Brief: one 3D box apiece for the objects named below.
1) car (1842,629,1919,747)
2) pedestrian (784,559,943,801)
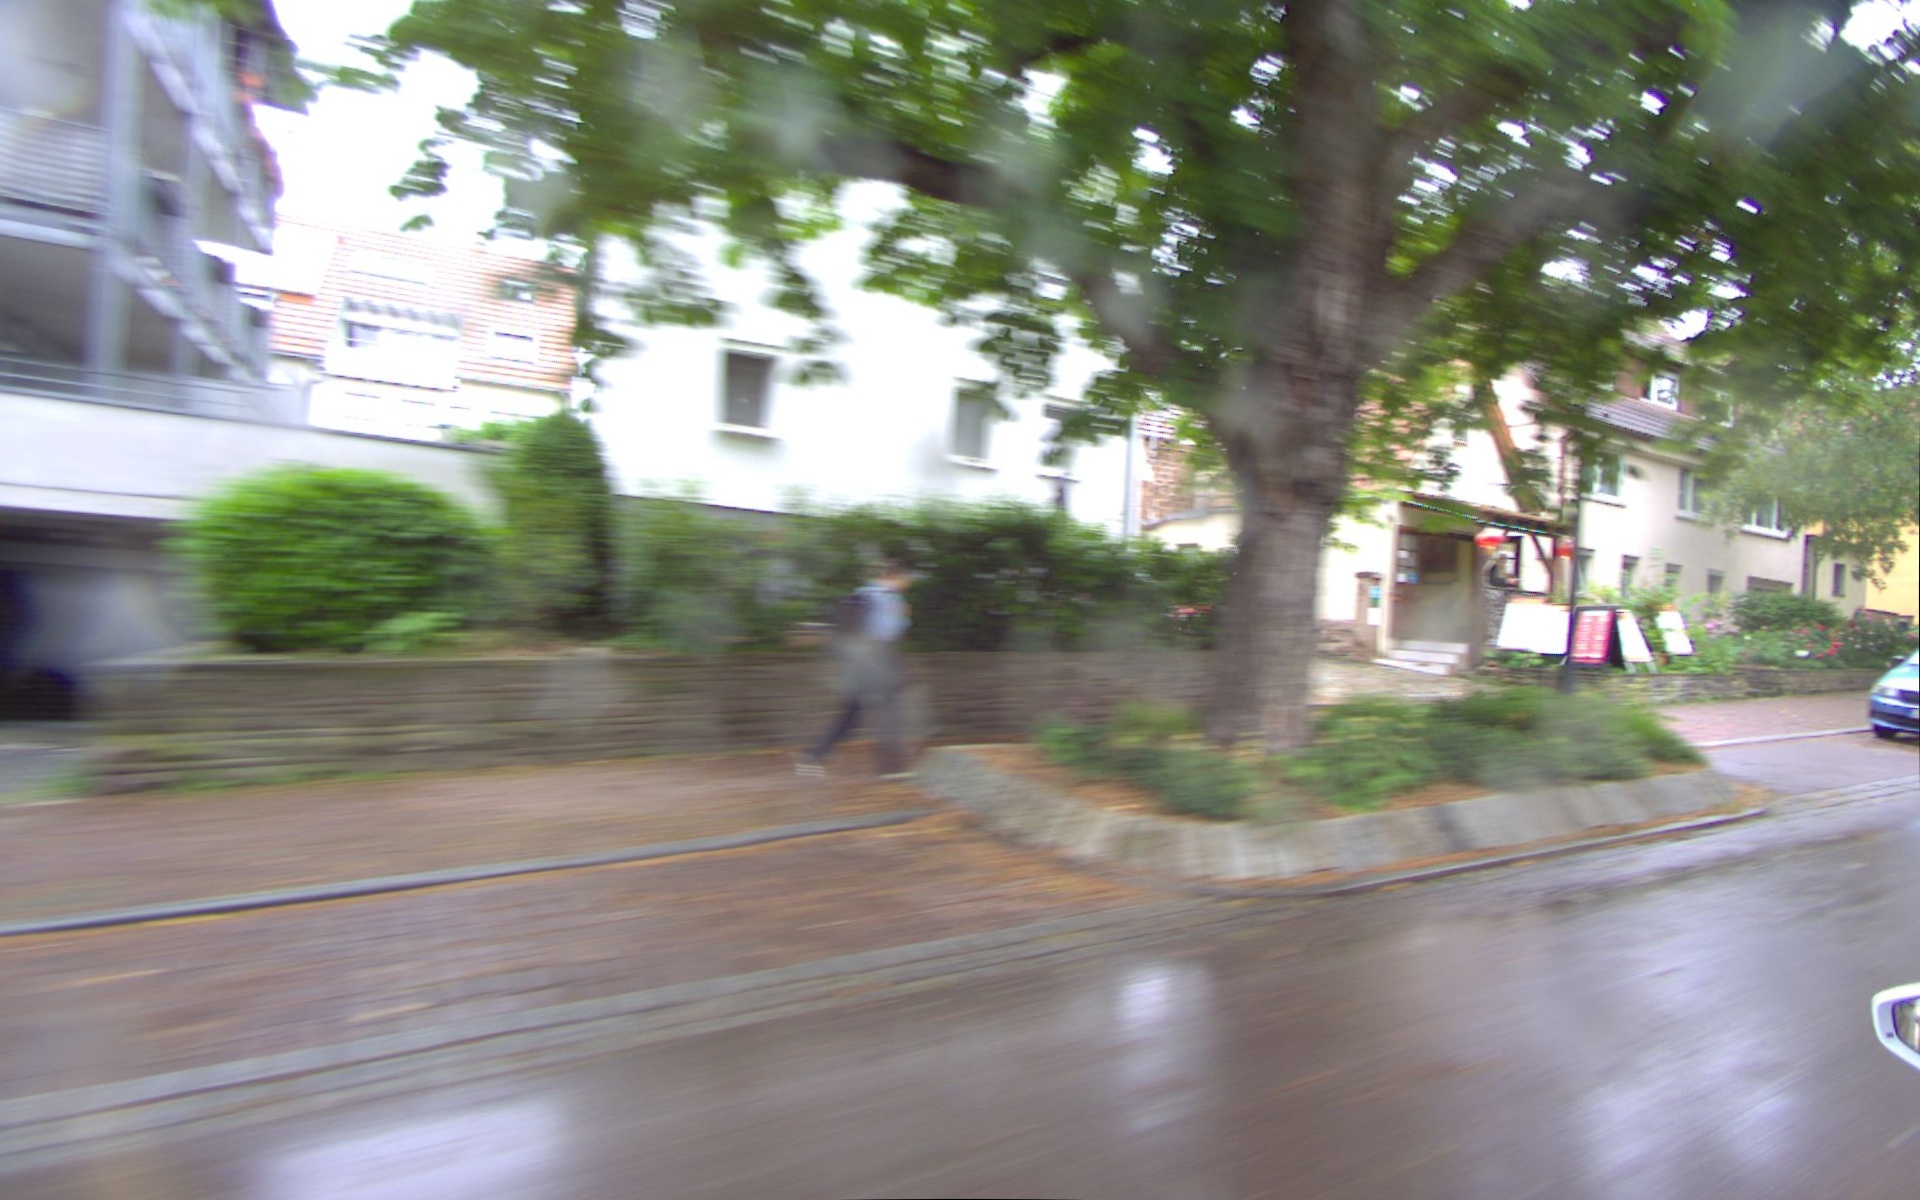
[{"bbox_3d":[13.475,1.147,13.158,3.750,1.415,1.741,2,0,-29],"label":"car"},{"bbox_3d":[-0.698,0.543,7.207,0.921,1.615,0.647,1,0,-30],"label":"pedestrian"}]
